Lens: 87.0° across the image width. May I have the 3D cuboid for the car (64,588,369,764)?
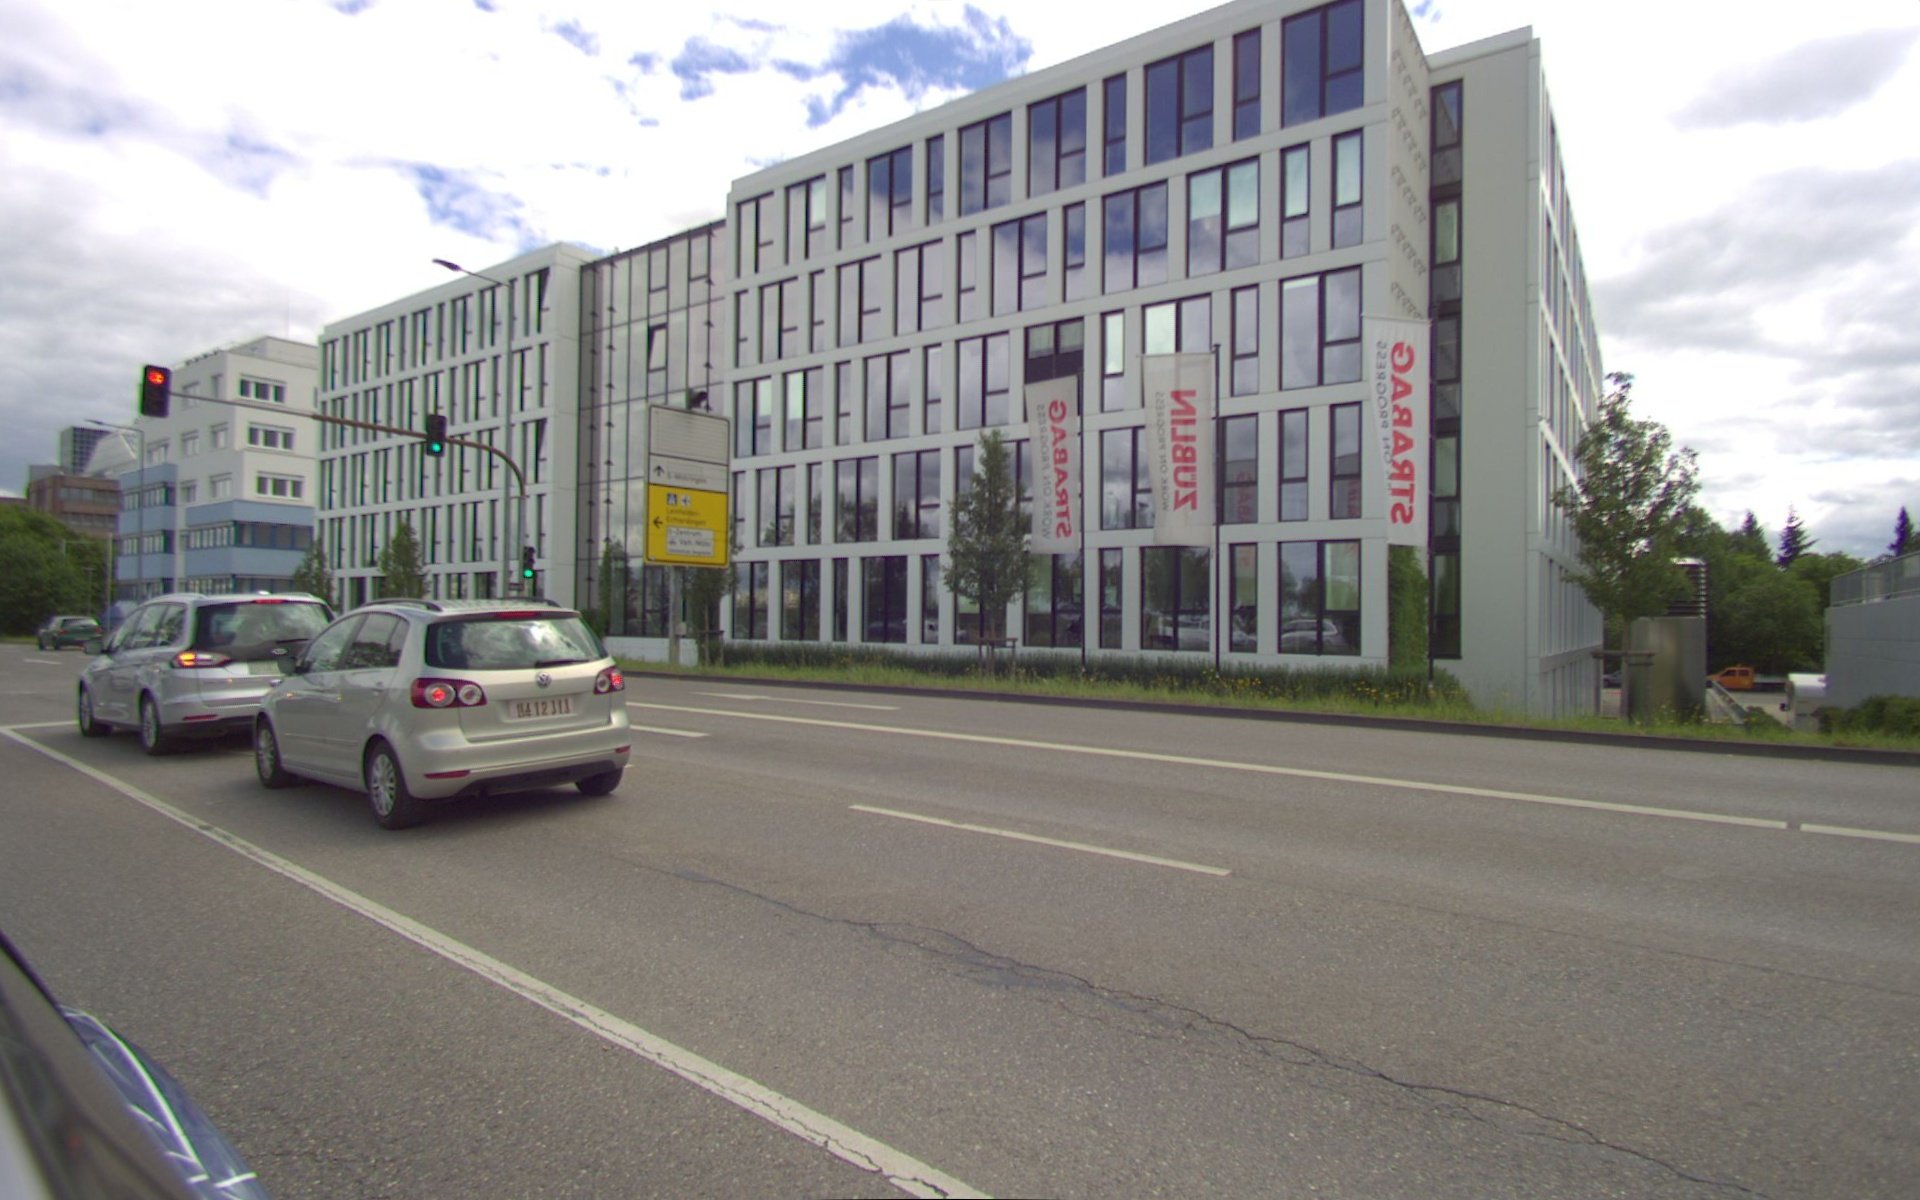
[{"bbox_3d":[-8.859,0.776,11.920,4.366,1.707,1.849,-1,-1,39],"label":"car"}]

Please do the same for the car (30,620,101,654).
[{"bbox_3d":[-39.021,1.593,44.138,3.632,1.402,1.590,-1,-1,36],"label":"car"}]

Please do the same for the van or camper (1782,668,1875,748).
[{"bbox_3d":[33.934,4.104,39.737,2.459,2.384,7.032,-1,-1,39],"label":"van or camper"}]

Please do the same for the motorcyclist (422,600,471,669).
[{"bbox_3d":[-11.713,0.779,23.087,0.916,1.521,0.648,-1,-1,36],"label":"motorcyclist"}]

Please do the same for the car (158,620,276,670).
[{"bbox_3d":[-21.815,1.284,29.678,3.631,1.365,1.729,-1,-1,35],"label":"car"}]

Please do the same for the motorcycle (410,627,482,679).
[{"bbox_3d":[-11.746,1.188,23.107,1.930,1.121,0.648,-1,-1,36],"label":"motorcycle"}]

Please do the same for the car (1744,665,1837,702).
[{"bbox_3d":[66.232,6.618,80.848,5.603,2.663,1.944,-1,0,37],"label":"car"}]

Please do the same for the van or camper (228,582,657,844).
[{"bbox_3d":[-4.368,0.735,8.261,4.043,1.622,1.726,-1,-1,41],"label":"van or camper"}]

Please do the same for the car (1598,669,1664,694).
[{"bbox_3d":[56.716,6.837,85.664,4.544,1.848,1.845,-1,0,33],"label":"car"}]
